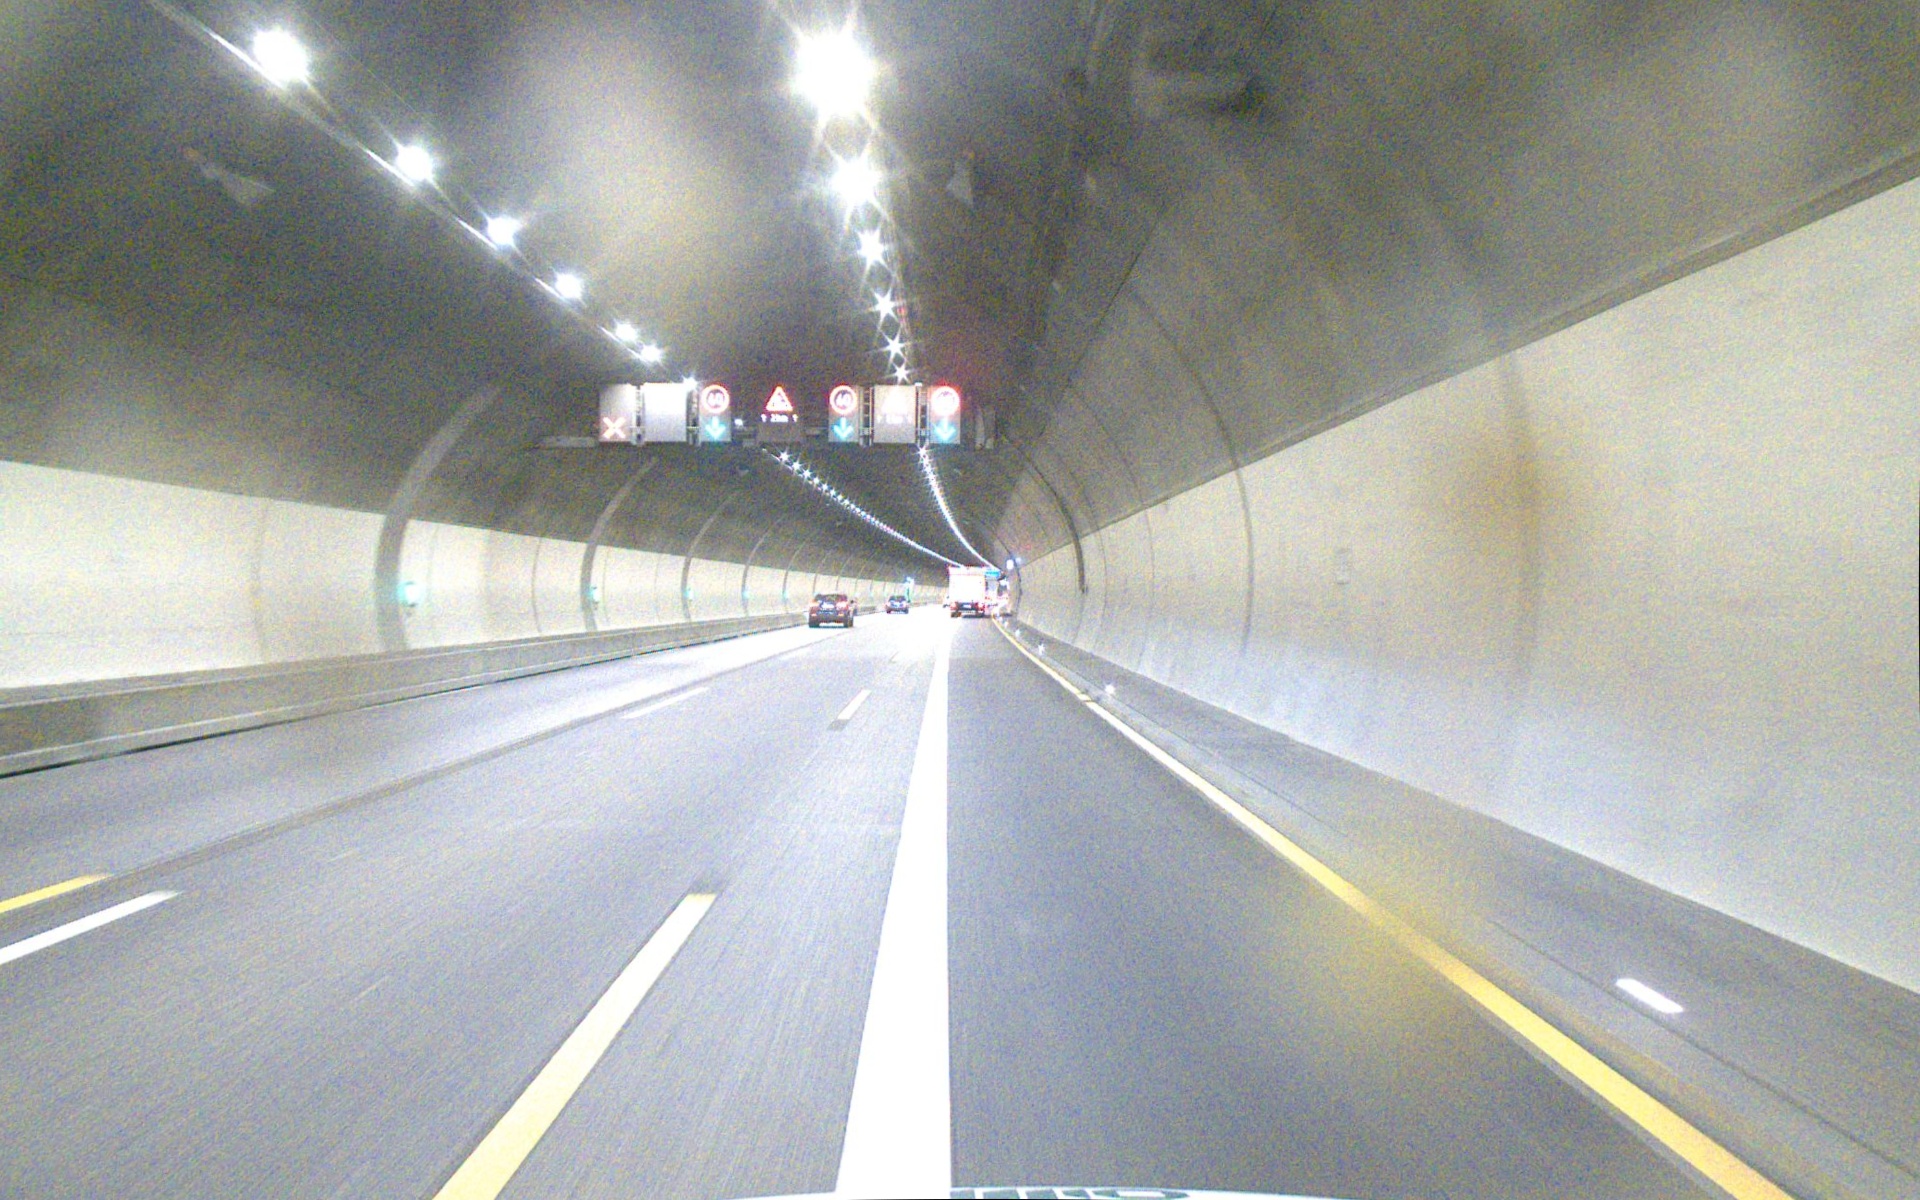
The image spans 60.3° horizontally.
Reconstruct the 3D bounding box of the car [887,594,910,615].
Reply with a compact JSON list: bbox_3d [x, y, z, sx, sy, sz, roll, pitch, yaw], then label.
[{"bbox_3d":[-4.885,0.335,132.212,1.776,1.546,4.000,0,2,-1],"label":"car"}]

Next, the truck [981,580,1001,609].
[{"bbox_3d":[4.608,-0.845,248.040,2.862,4.118,14.030,-1,0,1],"label":"truck"}]

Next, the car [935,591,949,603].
[{"bbox_3d":[-2.110,-0.310,195.108,1.617,1.297,4.000,0,2,-1],"label":"car"}]

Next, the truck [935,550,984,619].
[{"bbox_3d":[-0.169,-1.111,122.786,3.212,4.731,17.282,-1,0,-1],"label":"truck"}]

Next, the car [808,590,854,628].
[{"bbox_3d":[-5.779,0.371,74.468,1.775,1.646,4.000,0,0,0],"label":"car"}]
